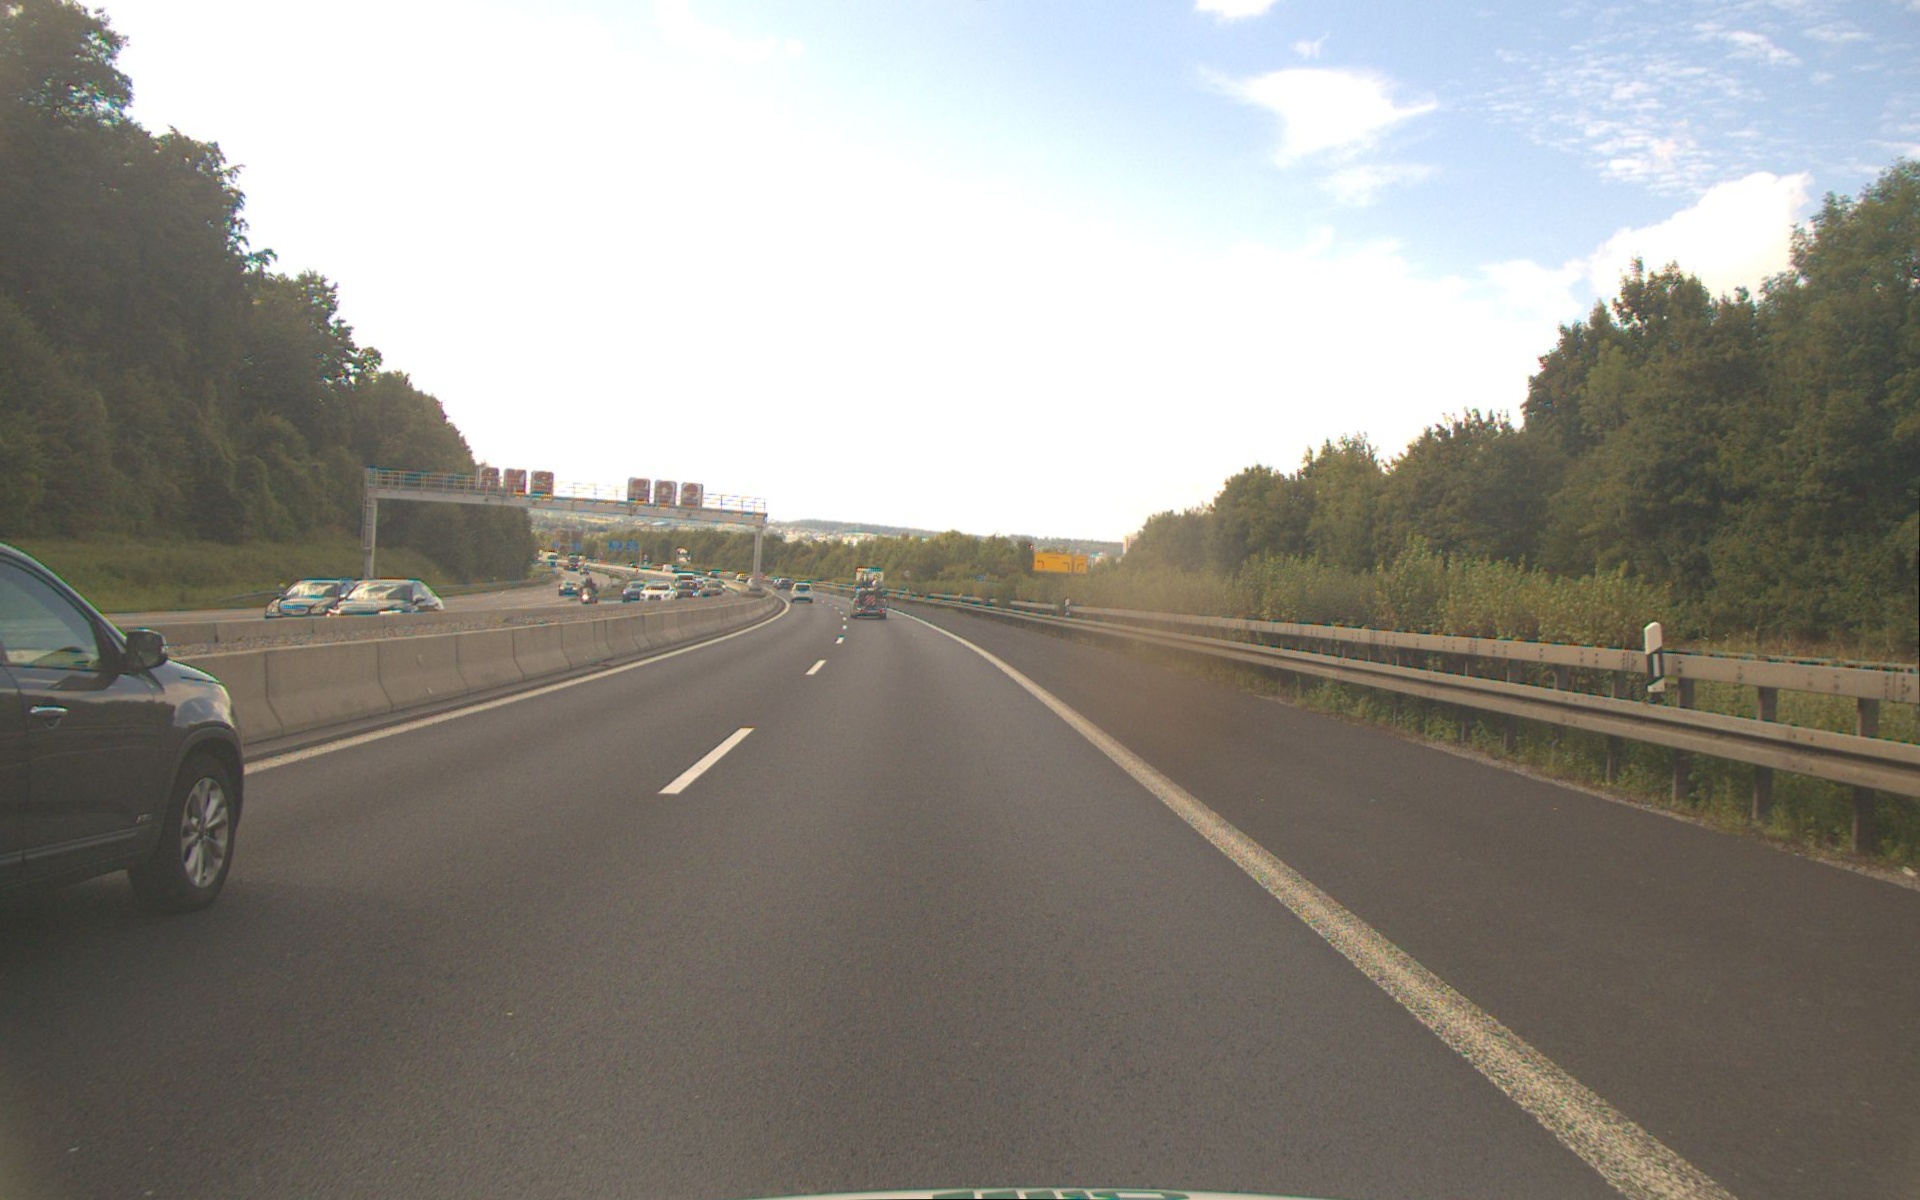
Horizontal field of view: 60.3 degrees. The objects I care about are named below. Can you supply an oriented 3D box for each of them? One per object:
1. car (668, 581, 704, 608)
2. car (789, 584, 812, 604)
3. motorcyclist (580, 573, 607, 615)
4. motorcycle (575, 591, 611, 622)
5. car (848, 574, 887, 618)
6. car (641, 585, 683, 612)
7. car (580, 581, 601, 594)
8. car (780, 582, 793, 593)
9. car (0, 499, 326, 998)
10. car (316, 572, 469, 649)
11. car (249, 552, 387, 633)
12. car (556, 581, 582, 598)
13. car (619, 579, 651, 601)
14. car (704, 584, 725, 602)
[{"bbox_3d":[-18.505,-0.368,111.844,1.838,1.727,4.312,1,0,-2],"label":"car"},{"bbox_3d":[-14.295,-0.490,148.159,1.956,1.713,3.993,1,0,-7],"label":"car"},{"bbox_3d":[-14.678,-0.247,66.255,0.877,1.662,0.921,1,0,-2],"label":"motorcyclist"},{"bbox_3d":[-14.669,0.255,66.144,0.904,1.209,2.638,1,0,-2],"label":"motorcycle"},{"bbox_3d":[-4.865,-0.247,87.553,1.990,2.189,3.998,1,1,-3],"label":"car"},{"bbox_3d":[-17.023,-0.087,94.576,1.725,1.486,4.294,1,0,-2],"label":"car"},{"bbox_3d":[-39.547,-1.320,177.038,1.788,1.334,4.180,1,0,-8],"label":"car"},{"bbox_3d":[-26.460,-1.864,252.698,1.577,1.585,3.988,1,0,-12],"label":"car"},{"bbox_3d":[-4.273,0.506,6.209,1.780,1.766,5.186,1,0,0],"label":"car"},{"bbox_3d":[-13.143,0.245,38.634,1.953,1.655,4.776,1,0,-1],"label":"car"},{"bbox_3d":[-17.469,-0.183,45.263,1.953,2.049,4.776,1,0,-1],"label":"car"},{"bbox_3d":[-36.629,-0.999,154.987,1.770,1.601,4.551,1,0,-7],"label":"car"},{"bbox_3d":[-23.576,-0.722,120.076,1.956,1.566,4.732,1,0,-7],"label":"car"},{"bbox_3d":[-22.563,-0.667,152.110,1.665,1.566,4.497,1,0,-5],"label":"car"}]
